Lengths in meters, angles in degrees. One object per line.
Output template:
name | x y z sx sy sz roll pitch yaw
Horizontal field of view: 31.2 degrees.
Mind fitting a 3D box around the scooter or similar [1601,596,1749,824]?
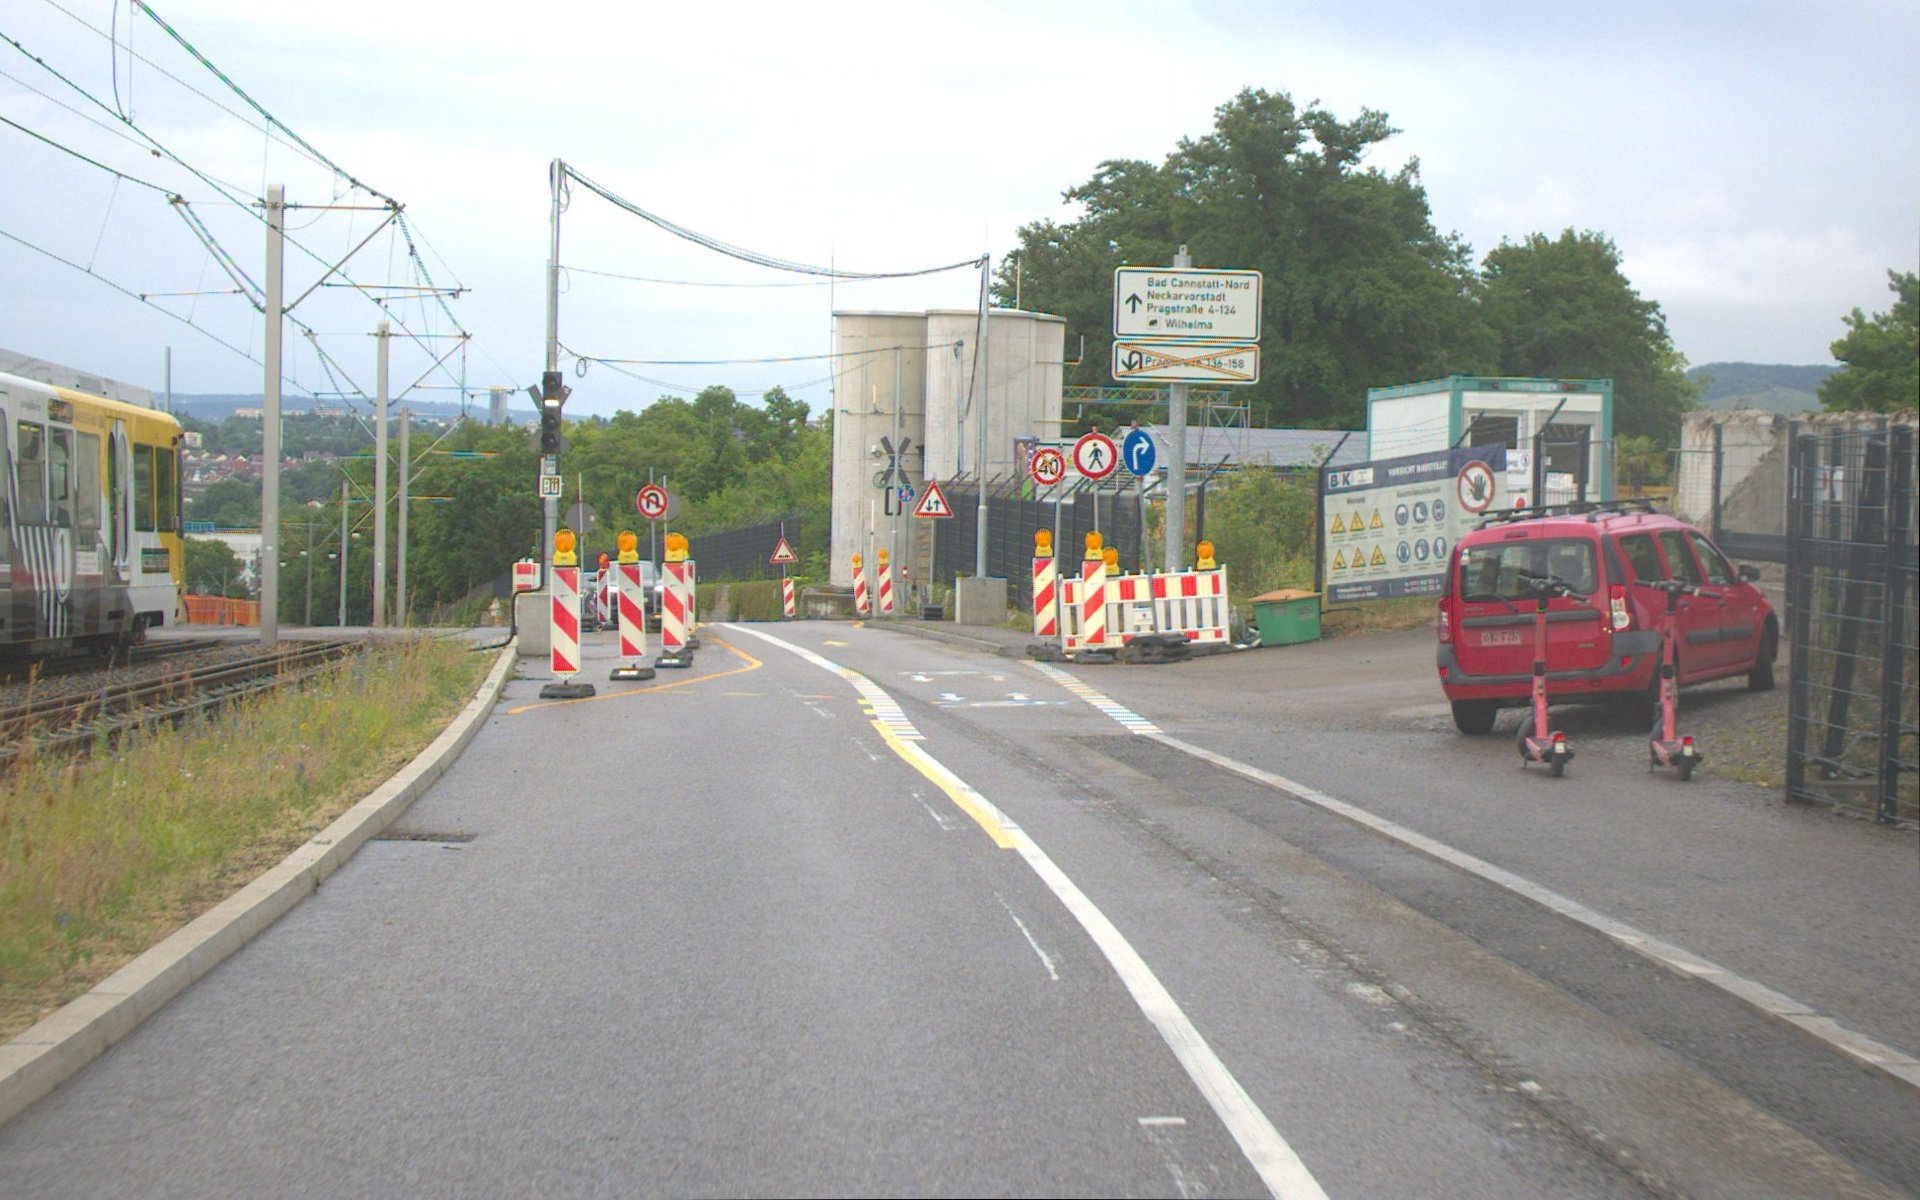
scooter or similar | 4.485 0.662 21.669 0.615 1.347 1.912 1 1 3

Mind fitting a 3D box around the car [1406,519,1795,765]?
car | 5.222 0.281 27.577 1.822 1.787 4.402 1 1 28

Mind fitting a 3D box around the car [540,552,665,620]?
car | -9.184 -0.351 88.081 1.993 1.672 4.489 0 0 -23

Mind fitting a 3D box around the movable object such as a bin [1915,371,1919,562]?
movable object such as a bin | 35.572 -4.170 106.225 11.233 5.975 3.490 0 0 5

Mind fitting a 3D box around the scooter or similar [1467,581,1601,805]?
scooter or similar | 3.642 0.561 21.931 0.615 1.347 1.912 1 1 3

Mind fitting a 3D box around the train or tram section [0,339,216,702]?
train or tram section | -11.970 -0.931 40.965 2.955 3.872 19.293 2 1 -3
